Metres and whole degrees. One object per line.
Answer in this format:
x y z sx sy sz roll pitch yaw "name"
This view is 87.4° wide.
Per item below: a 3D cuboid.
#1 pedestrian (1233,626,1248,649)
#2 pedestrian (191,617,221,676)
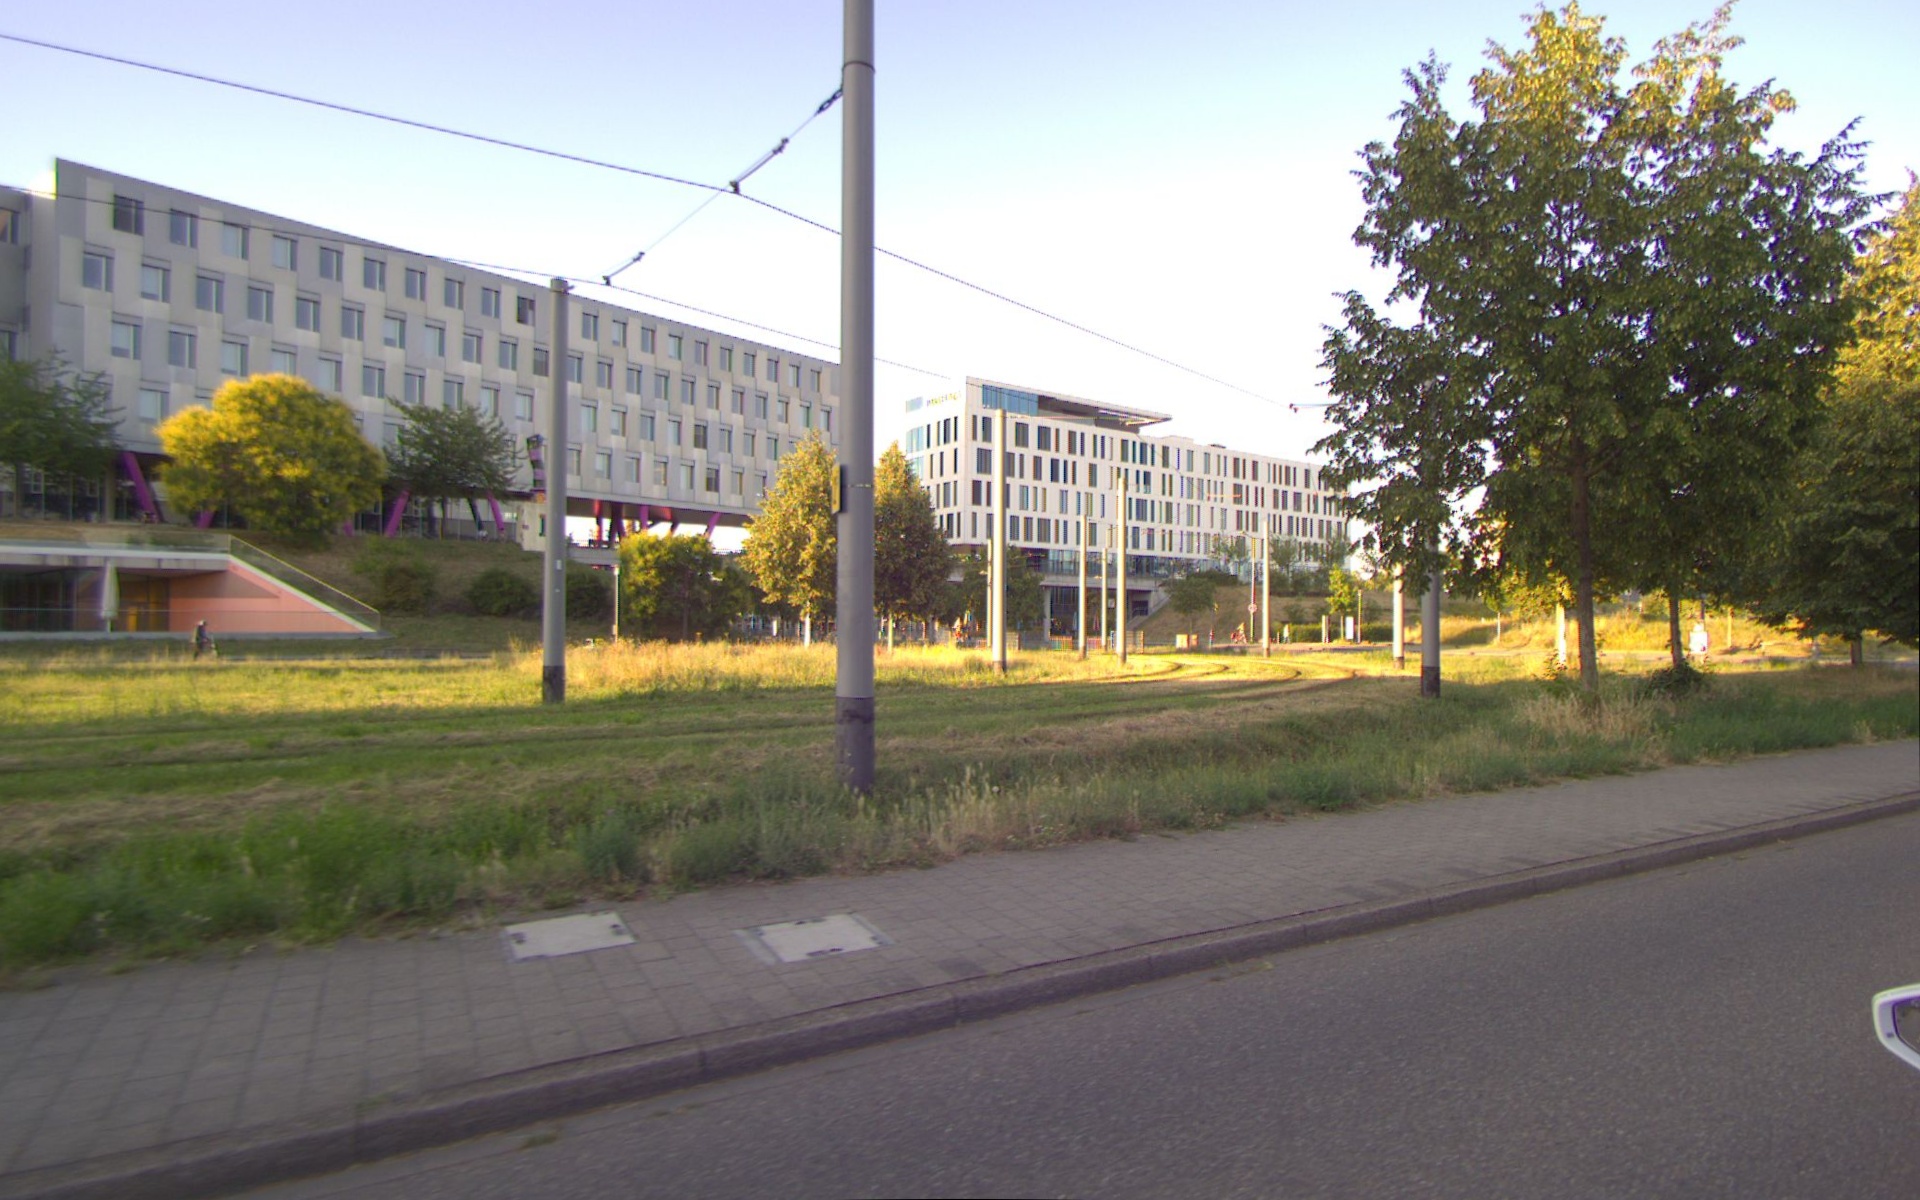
22.135 2.950 79.348 0.803 1.810 0.784 1 -1 -27 "pedestrian"
-27.511 1.687 36.661 0.781 2.110 0.613 1 1 -31 "pedestrian"
